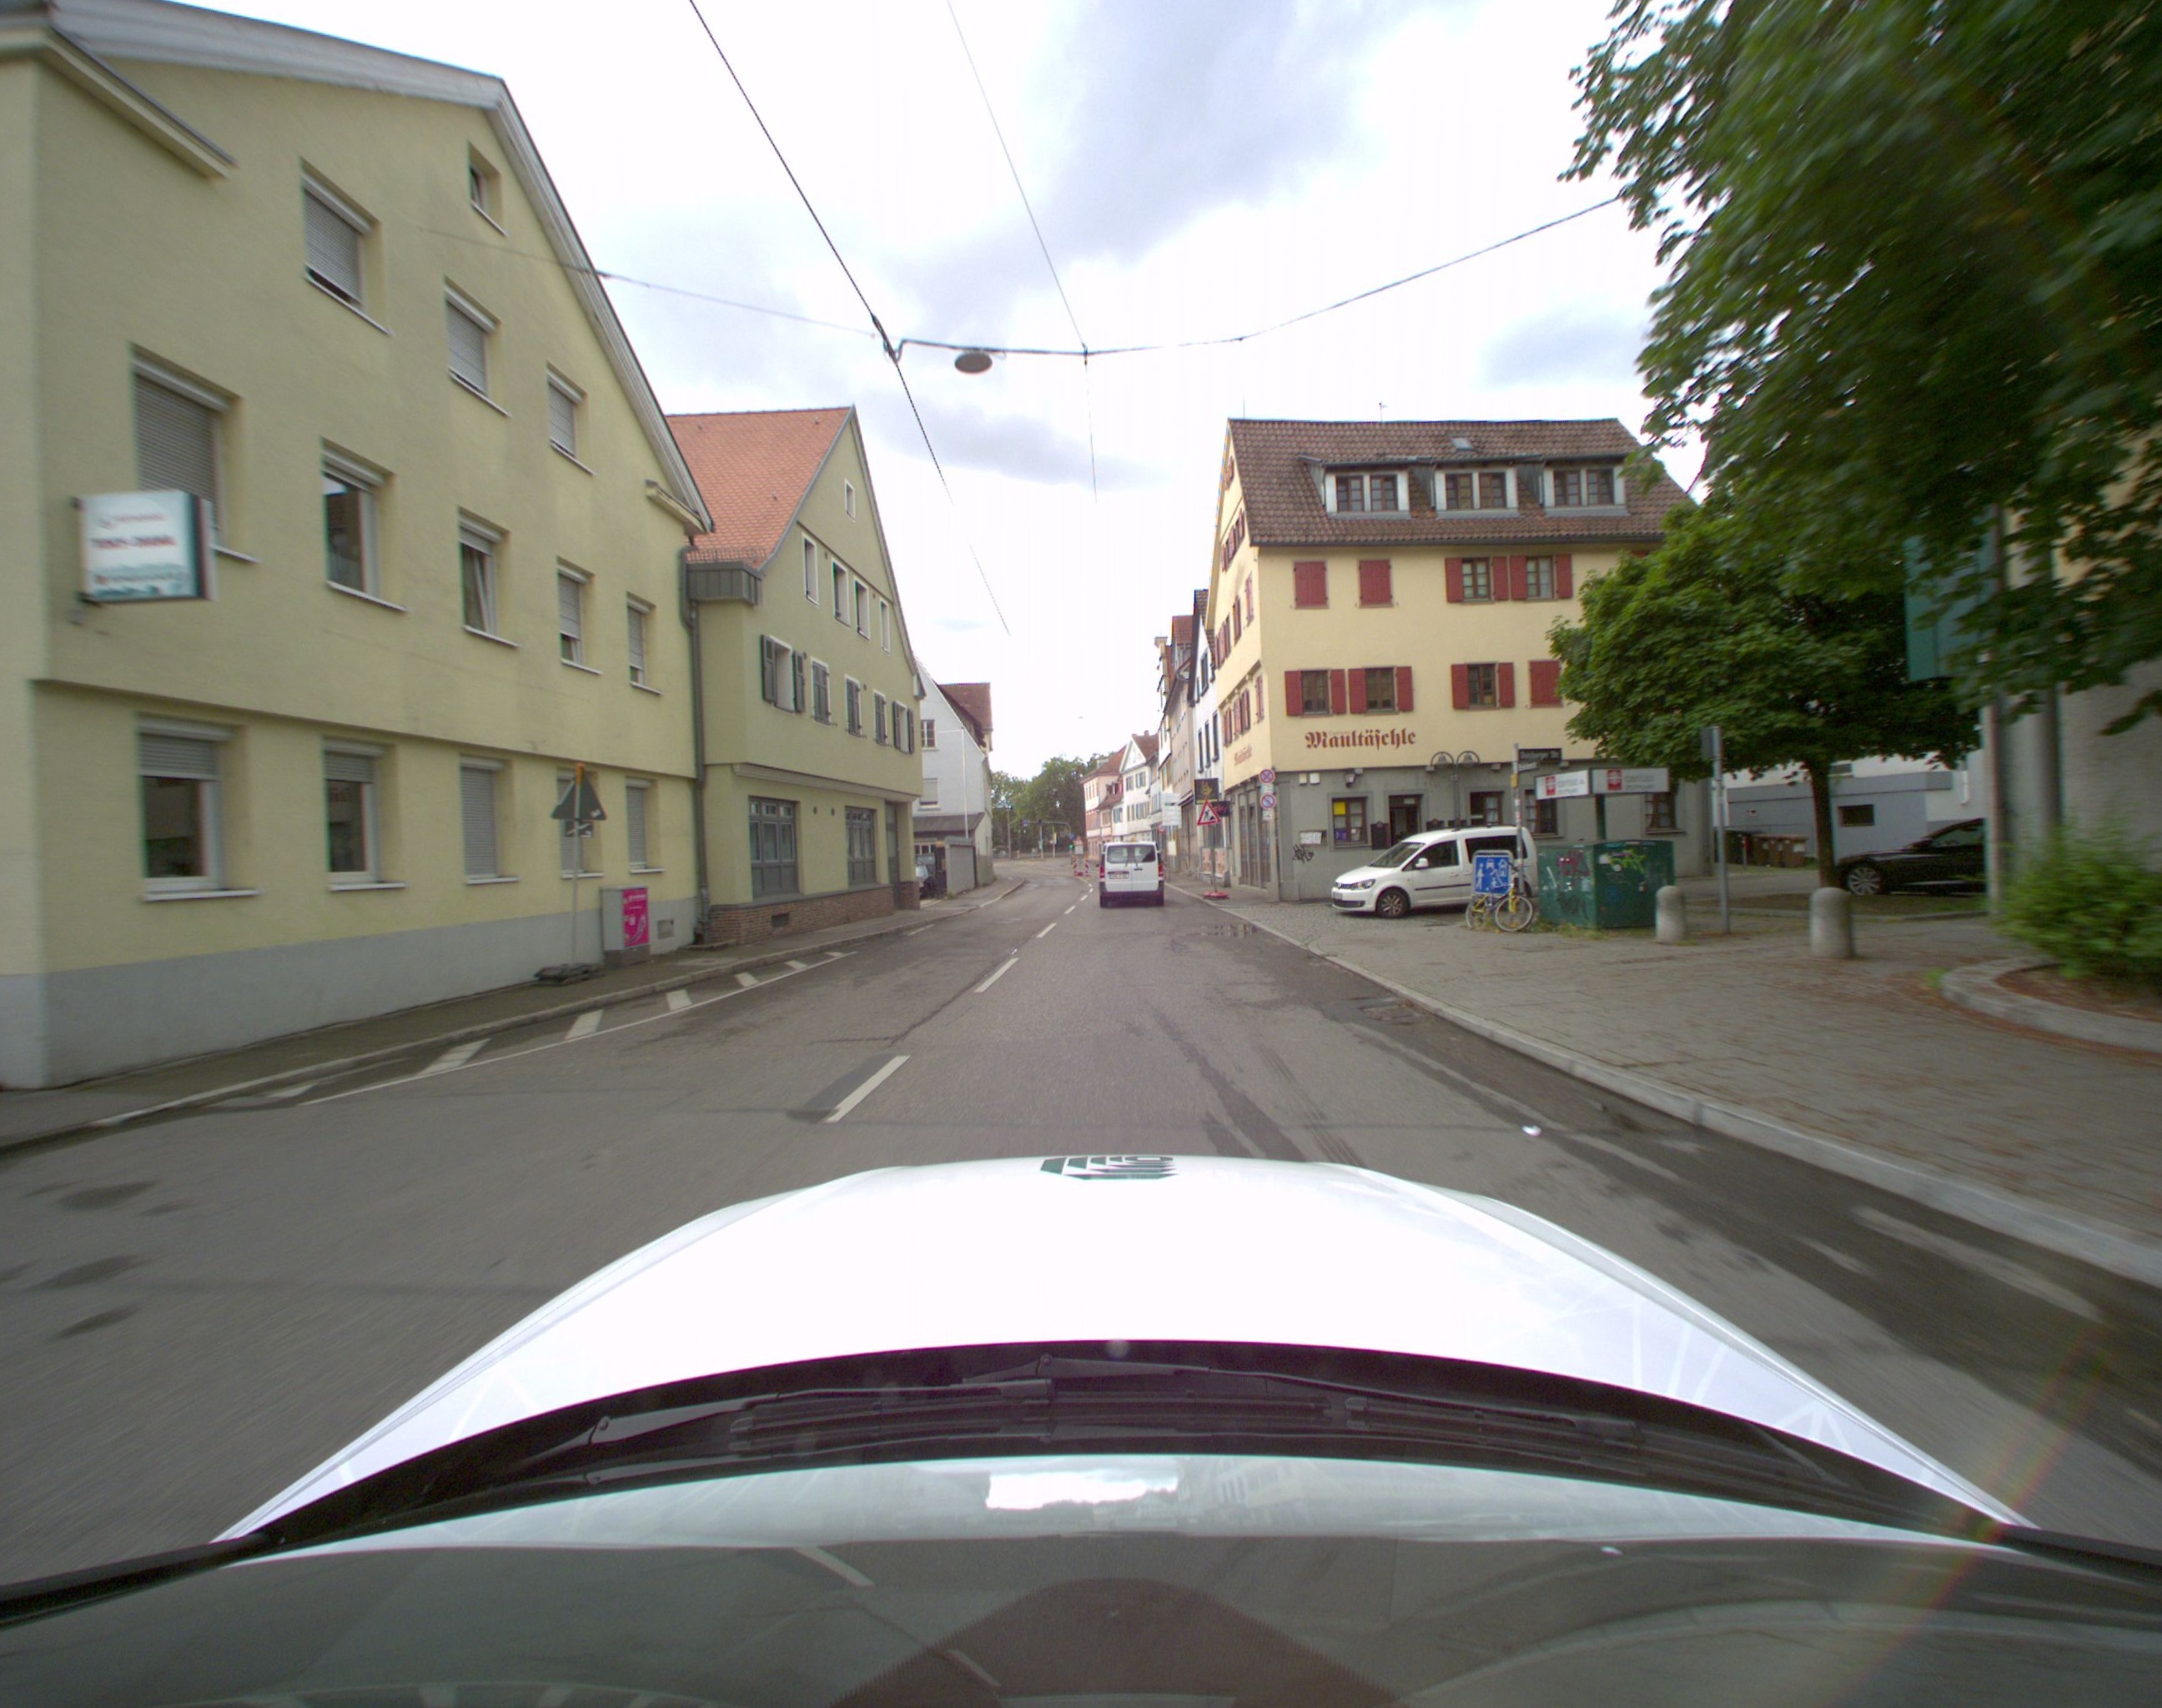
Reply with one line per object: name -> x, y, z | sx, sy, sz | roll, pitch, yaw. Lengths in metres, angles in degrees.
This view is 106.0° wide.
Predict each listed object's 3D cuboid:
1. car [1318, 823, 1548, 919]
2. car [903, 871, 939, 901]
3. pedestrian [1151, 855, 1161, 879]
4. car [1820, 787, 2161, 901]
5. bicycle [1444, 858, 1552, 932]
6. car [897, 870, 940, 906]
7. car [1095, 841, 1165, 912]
car -> 7.620, 0.330, 17.841 | 4.235, 1.797, 1.845 | -3, 1, -6
car -> -7.960, 1.547, 40.425 | 1.646, 1.354, 3.984 | -1, -1, -11
pedestrian -> 5.572, 0.994, 60.587 | 0.641, 1.747, 0.562 | -2, -2, -2
car -> 15.851, -0.115, 13.905 | 1.842, 1.622, 4.580 | -2, -1, -10
bicycle -> 6.764, 0.648, 13.302 | 0.501, 1.106, 1.628 | -3, -1, -18
car -> -6.804, 1.381, 34.152 | 1.646, 1.354, 3.984 | -2, -1, -11
car -> 1.512, 0.649, 24.701 | 1.864, 1.912, 4.004 | -3, -1, 4
